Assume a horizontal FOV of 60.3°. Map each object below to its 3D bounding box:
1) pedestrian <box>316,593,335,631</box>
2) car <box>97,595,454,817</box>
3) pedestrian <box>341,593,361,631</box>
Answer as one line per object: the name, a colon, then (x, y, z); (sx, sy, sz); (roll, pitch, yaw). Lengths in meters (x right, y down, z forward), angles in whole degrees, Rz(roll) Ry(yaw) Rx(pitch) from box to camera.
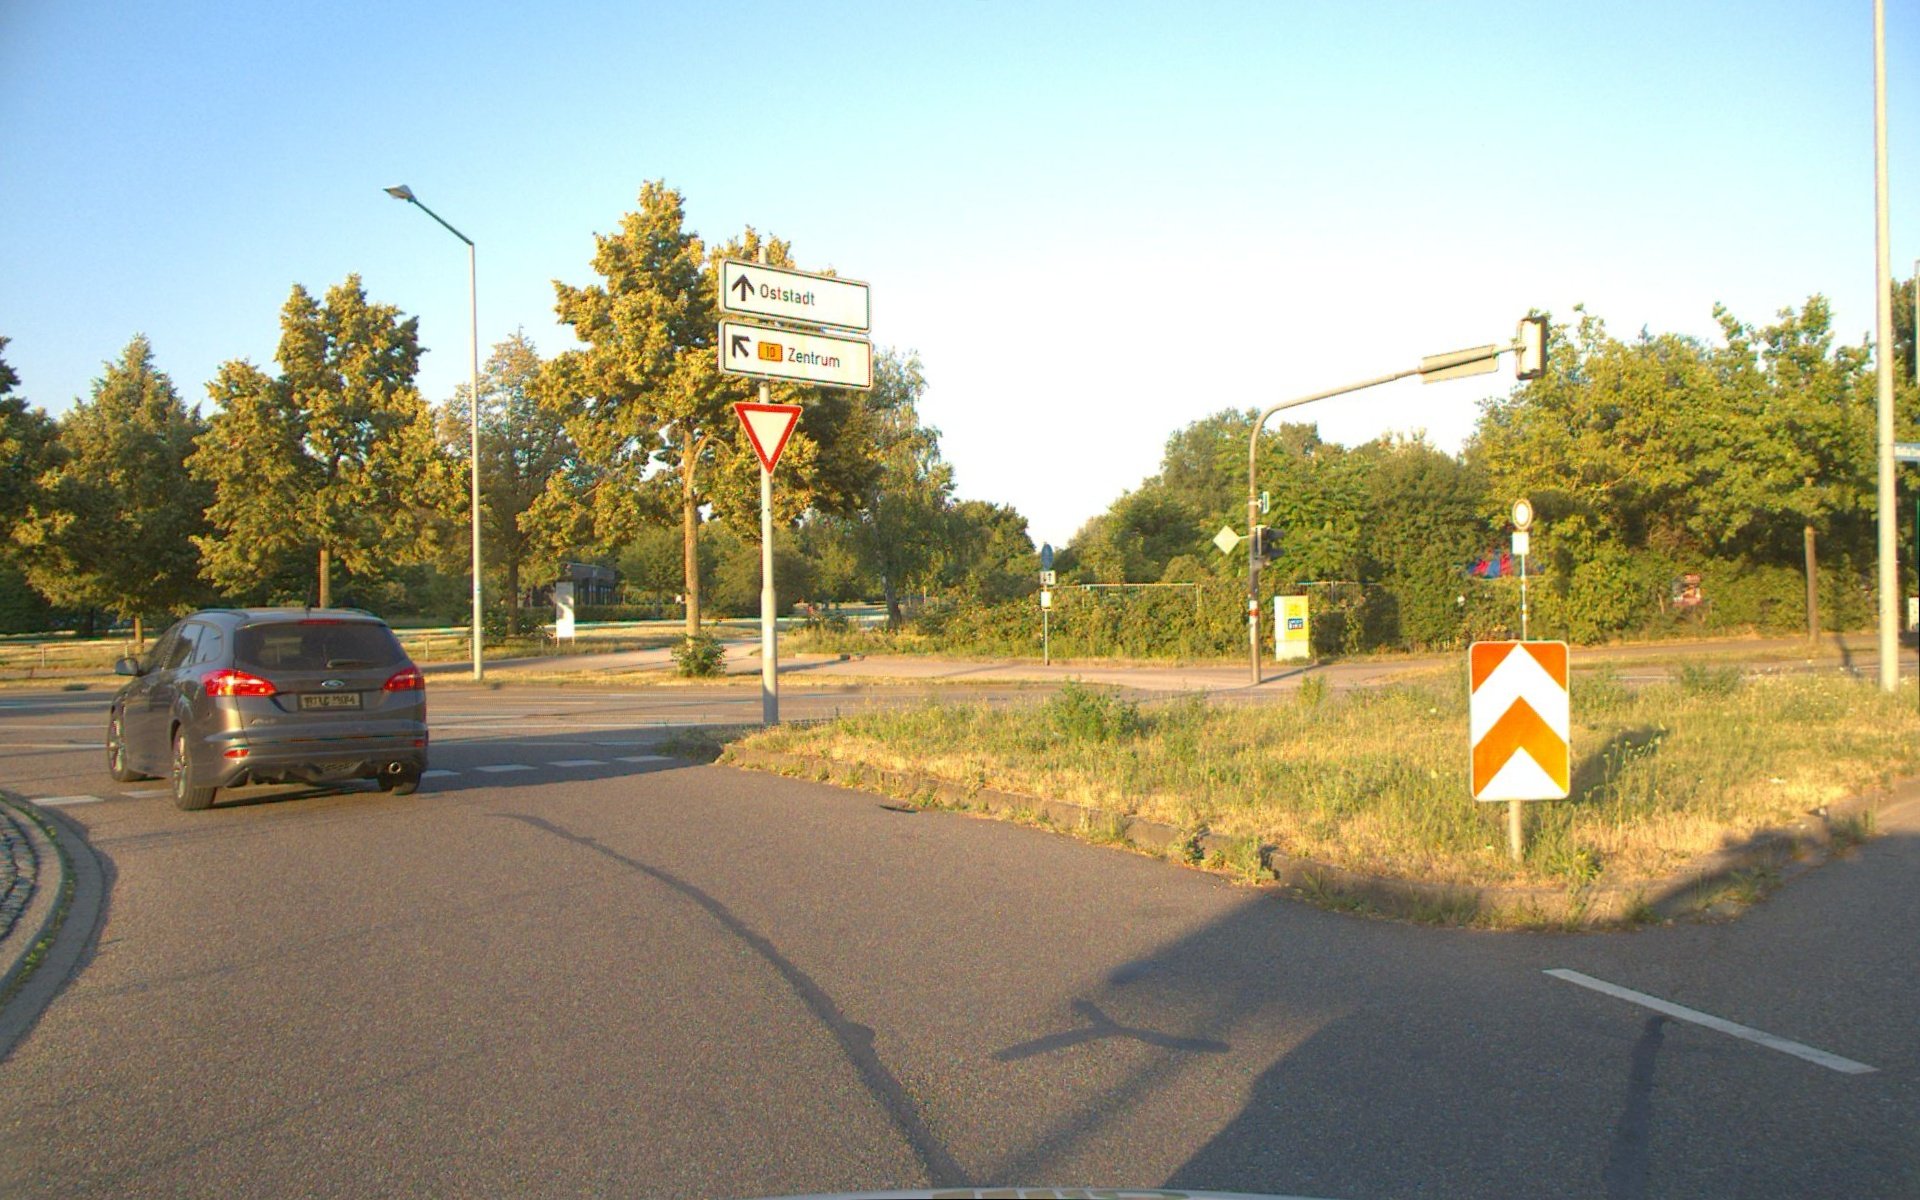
pedestrian: (-27.836, 0.537, 72.605); (0.523, 1.655, 0.577); (-1, 0, 42)
car: (-5.713, 0.727, 13.520); (1.733, 1.492, 4.080); (-1, 1, -37)
pedestrian: (-26.562, 0.533, 72.147); (0.519, 1.655, 0.618); (-1, 0, 34)
